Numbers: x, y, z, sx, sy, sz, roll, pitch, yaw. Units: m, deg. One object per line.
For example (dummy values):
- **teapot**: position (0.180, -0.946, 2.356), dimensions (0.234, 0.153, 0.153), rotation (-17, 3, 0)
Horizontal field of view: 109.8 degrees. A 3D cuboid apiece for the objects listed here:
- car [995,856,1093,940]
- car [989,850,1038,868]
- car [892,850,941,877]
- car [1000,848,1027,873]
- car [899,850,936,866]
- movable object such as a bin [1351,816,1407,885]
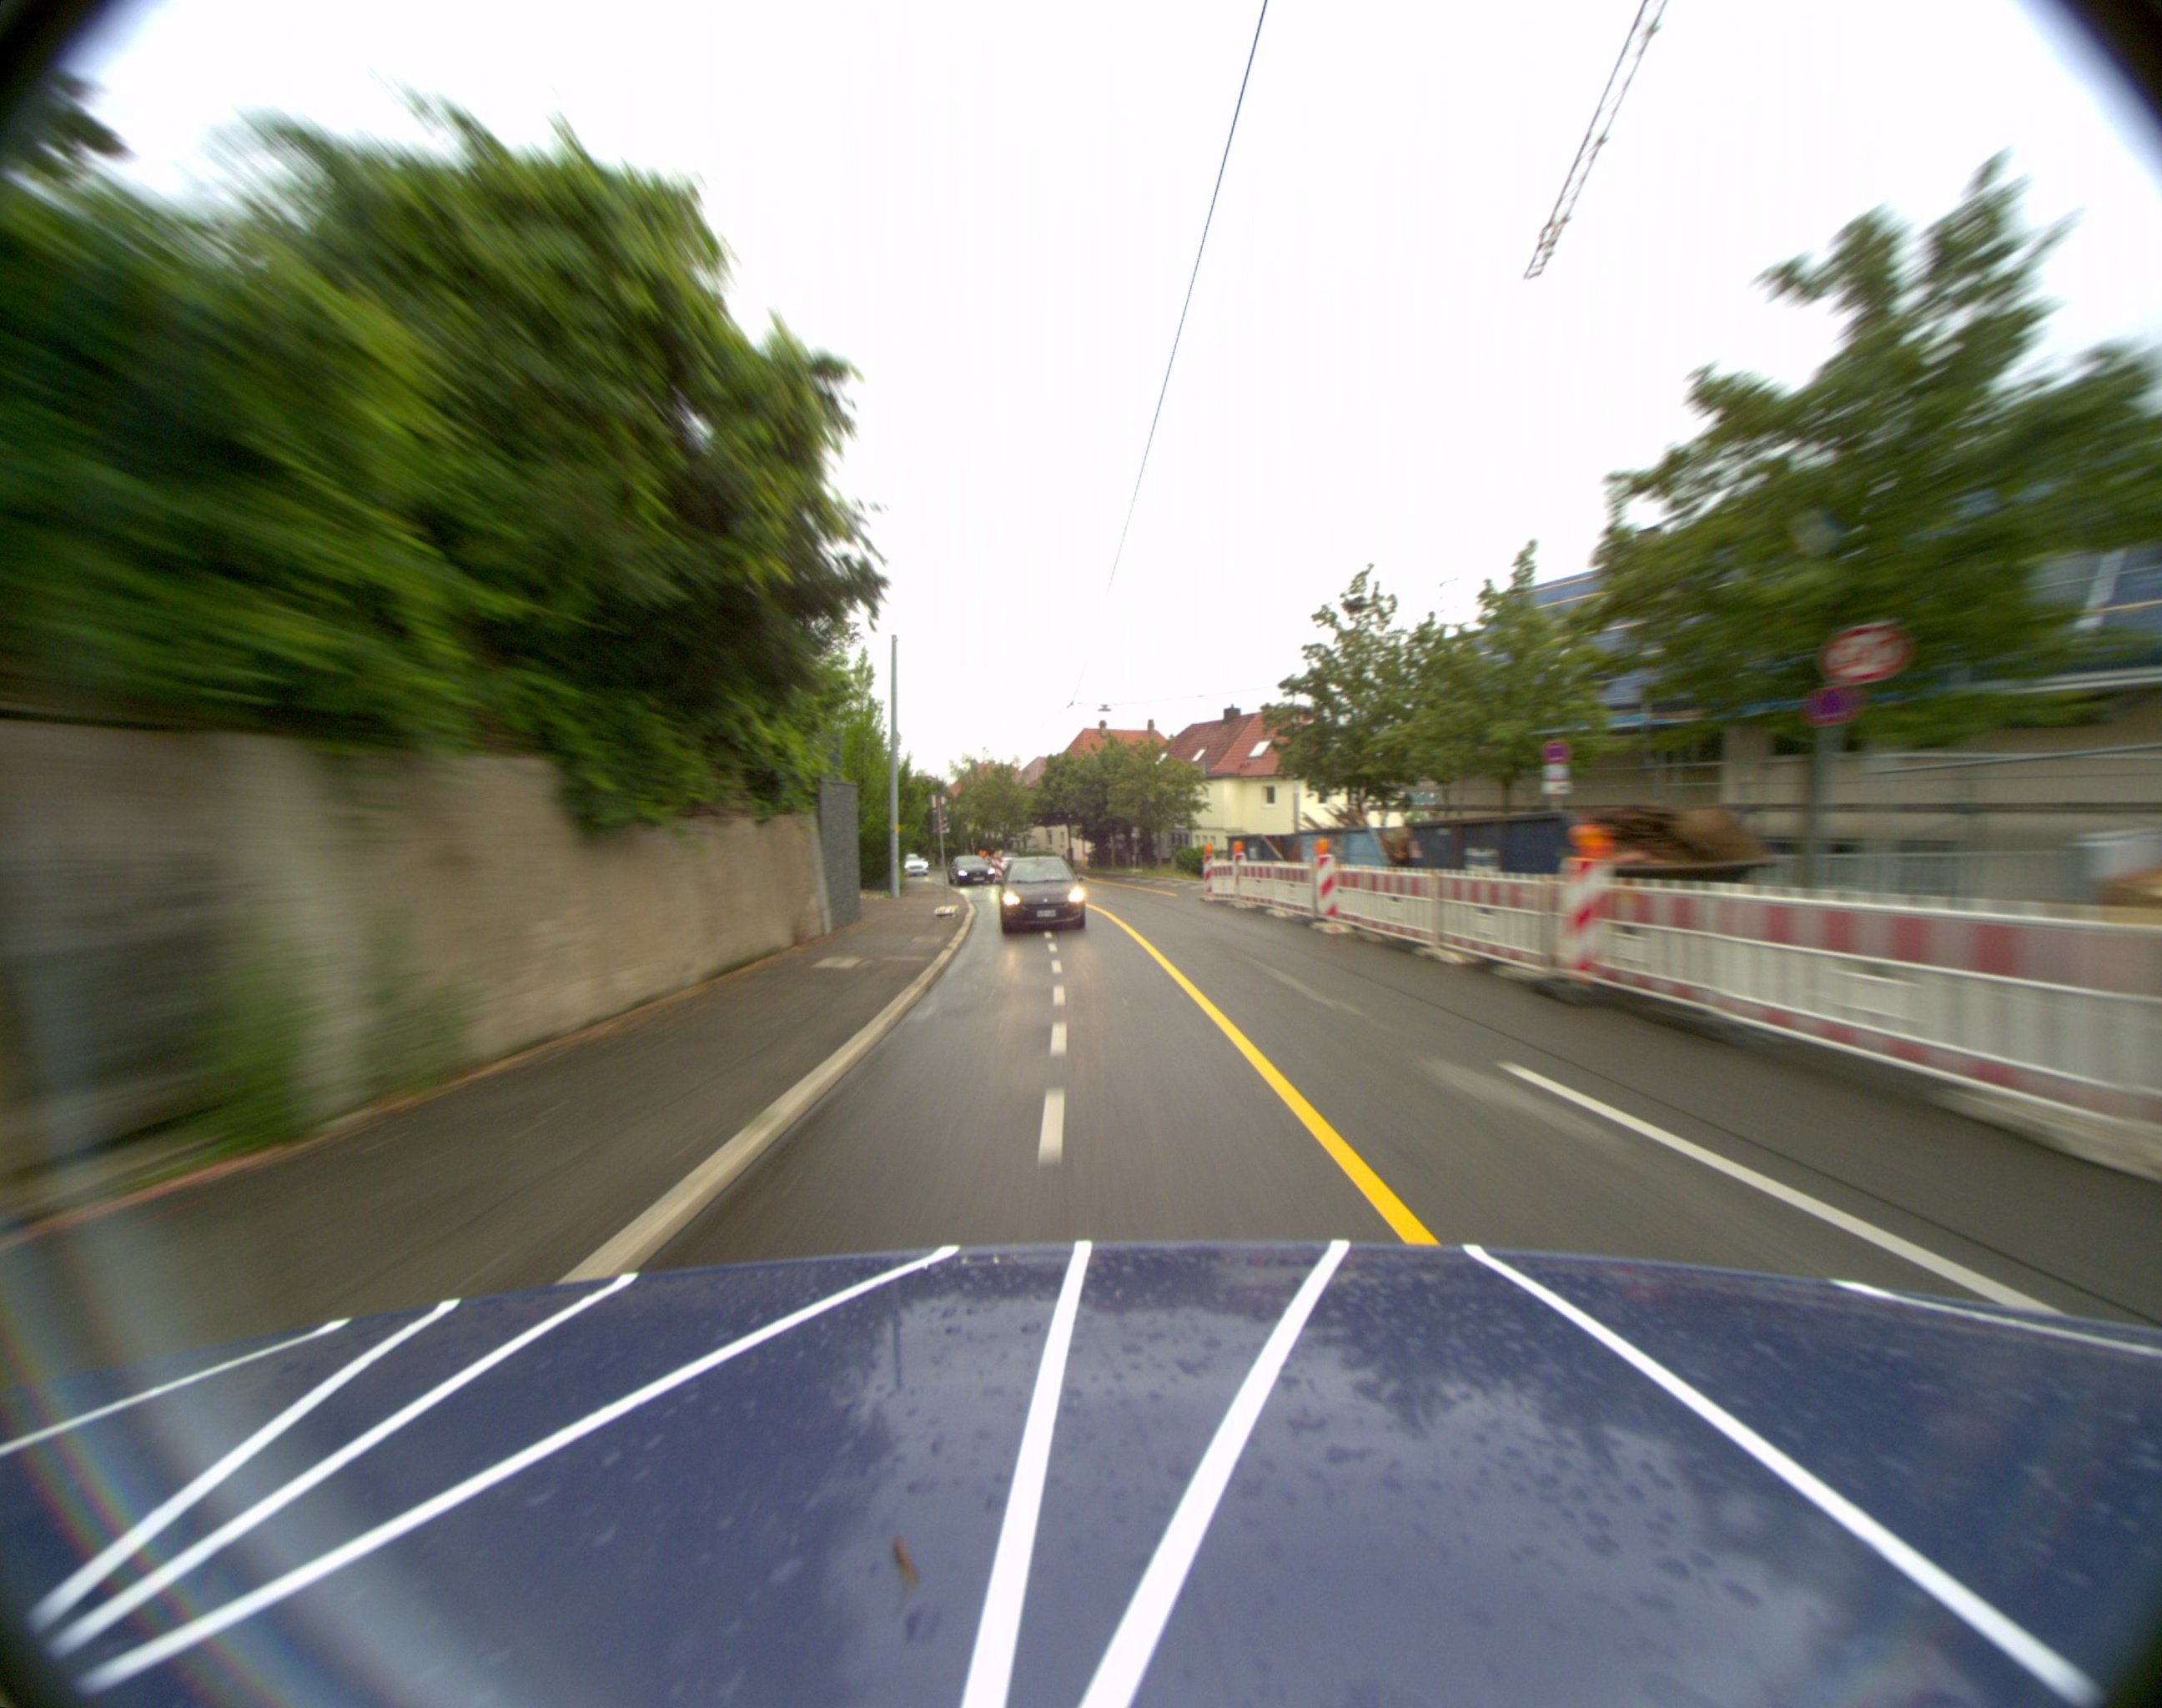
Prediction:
- **car**: position (-0.928, 0.824, 16.401), dimensions (1.747, 1.434, 4.356), rotation (-3, 1, -7)
- **car**: position (-6.542, 0.466, 73.539), dimensions (4.259, 1.495, 1.909), rotation (4, -1, -26)
- **car**: position (-12.336, 0.688, 56.644), dimensions (2.022, 1.729, 4.587), rotation (-7, 4, -31)
- **car**: position (-4.380, 0.387, 48.921), dimensions (1.460, 1.517, 2.920), rotation (-3, 1, -9)
- **car**: position (-15.790, 0.383, 73.368), dimensions (1.715, 1.375, 4.518), rotation (-6, 3, -35)
- **movable object such as a bin**: position (11.184, -0.123, 28.580), dimensions (1.318, 2.491, 1.383), rotation (-2, 1, -23)
